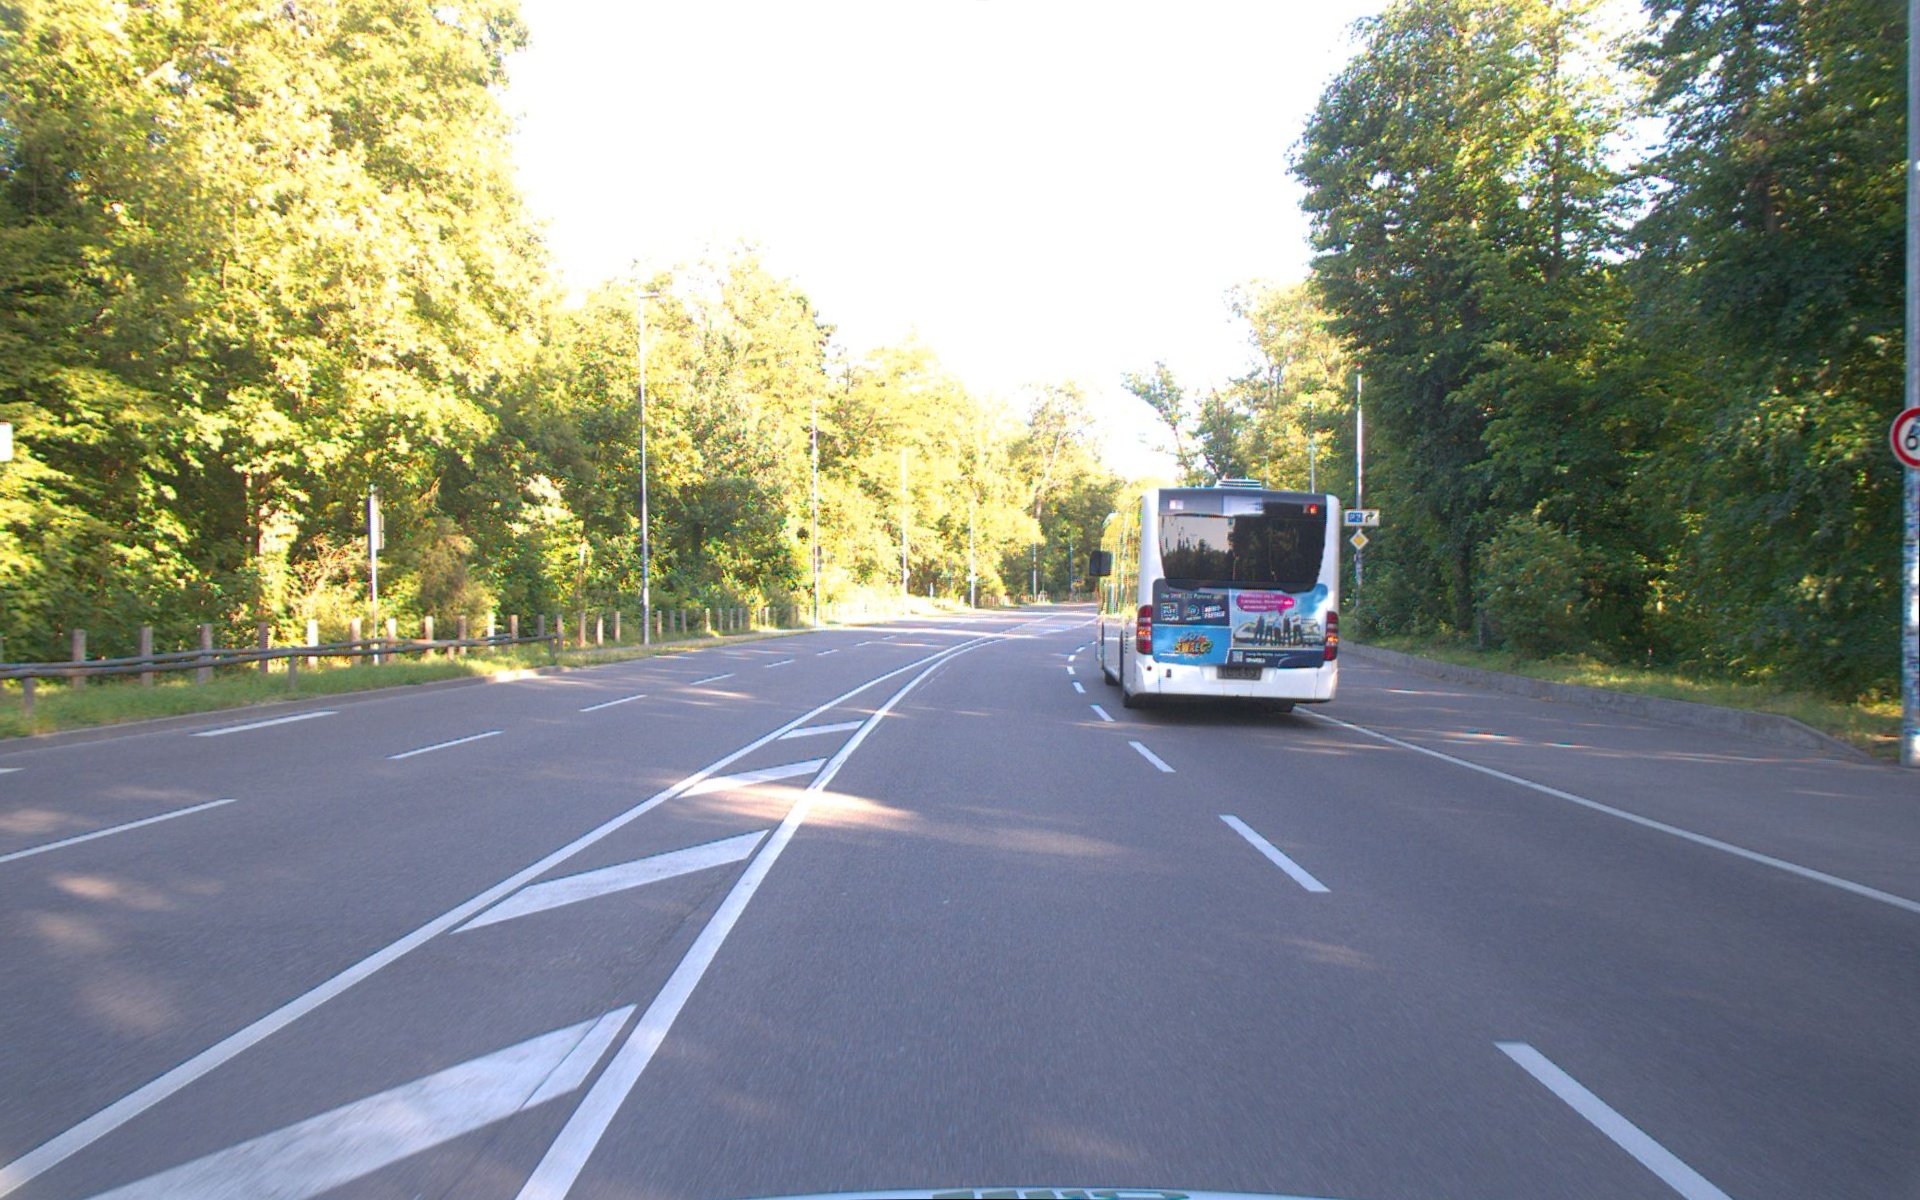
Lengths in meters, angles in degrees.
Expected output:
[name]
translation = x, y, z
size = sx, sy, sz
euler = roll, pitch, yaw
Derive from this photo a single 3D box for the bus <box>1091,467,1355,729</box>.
[bus]
translation = 3.627, -0.019, 25.820
size = 2.633, 3.096, 12.044
euler = 1, 0, 2
